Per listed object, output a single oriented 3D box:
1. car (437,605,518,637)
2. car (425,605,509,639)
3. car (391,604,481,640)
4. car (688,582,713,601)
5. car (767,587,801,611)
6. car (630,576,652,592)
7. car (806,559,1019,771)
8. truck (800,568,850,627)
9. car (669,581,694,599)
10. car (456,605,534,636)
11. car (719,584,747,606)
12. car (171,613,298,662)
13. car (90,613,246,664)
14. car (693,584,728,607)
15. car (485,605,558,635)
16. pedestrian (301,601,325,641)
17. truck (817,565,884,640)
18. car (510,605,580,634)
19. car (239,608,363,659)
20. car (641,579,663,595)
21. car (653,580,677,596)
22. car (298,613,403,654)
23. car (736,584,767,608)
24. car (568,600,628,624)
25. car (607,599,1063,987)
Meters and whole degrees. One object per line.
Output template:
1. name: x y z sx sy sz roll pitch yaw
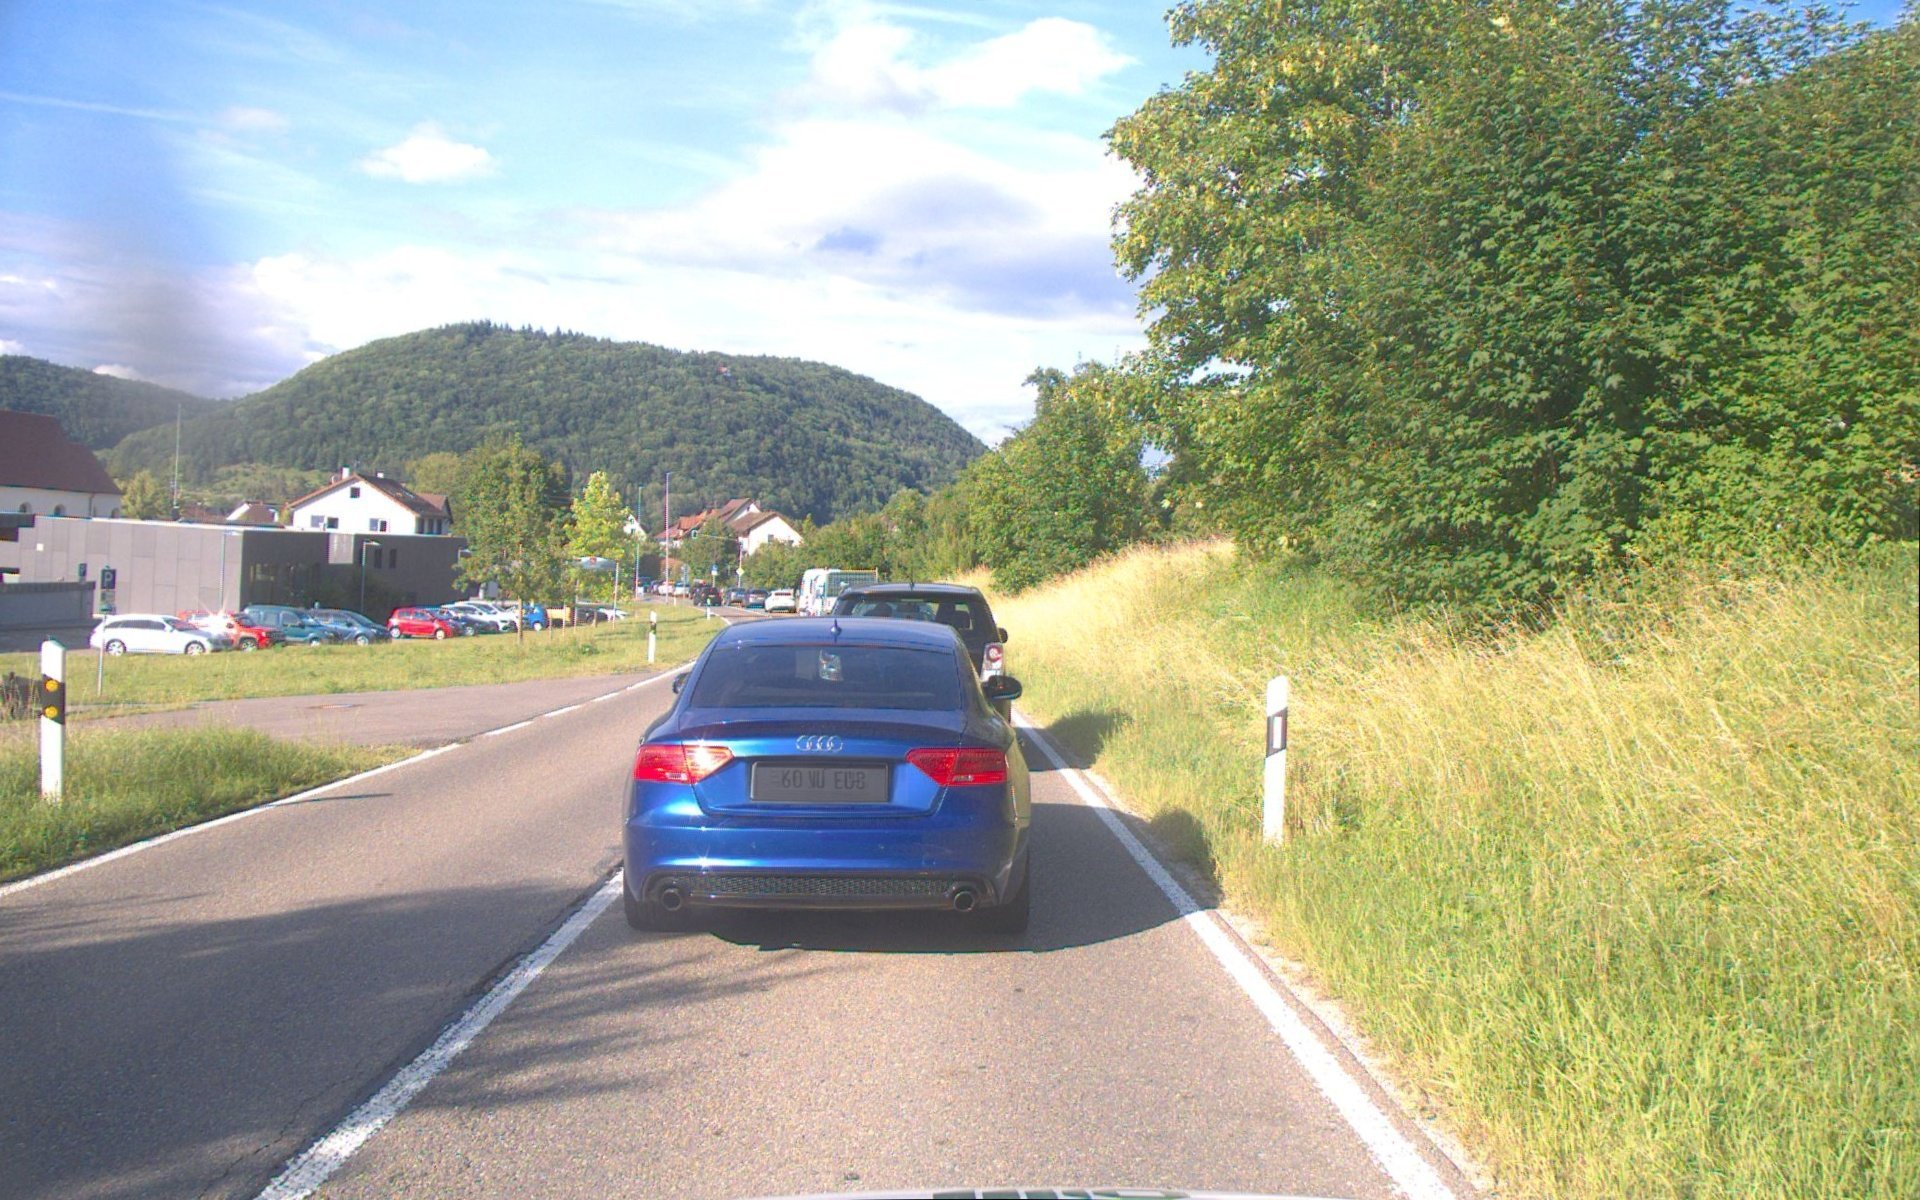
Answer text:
1. car: -26.767 1.160 91.839 3.907 1.741 1.999 1 0 -3
2. car: -26.244 1.150 88.190 3.907 1.741 1.999 1 0 -3
3. car: -26.468 1.122 83.638 3.907 1.741 1.999 1 0 -3
4. car: -24.424 -0.748 155.652 1.816 1.742 3.982 1 0 -16
5. car: -11.551 -0.062 108.288 1.813 1.508 3.988 1 0 -12
6. car: -37.171 -1.881 192.869 1.819 1.742 3.975 1 0 -21
7. car: -0.385 0.543 15.475 1.718 1.710 3.846 1 0 0
8. truck: -6.360 -0.119 77.621 2.186 2.615 6.700 1 0 -5
9. car: -28.480 -1.012 169.215 1.818 1.742 3.977 1 0 -19
10. car: -26.717 1.179 95.124 3.907 1.741 1.999 1 0 -3
11. car: -18.632 -0.377 135.635 1.815 1.742 3.984 1 0 -15
12. car: -27.592 1.419 63.011 3.907 1.741 1.999 1 0 -3
13. car: -28.655 1.385 59.987 4.637 1.741 1.999 1 0 -3
14. car: -19.639 -0.384 129.857 1.820 1.742 3.973 1 0 -22
15. car: -26.746 1.209 100.910 3.907 1.741 1.999 1 0 -3
16. pedestrian: -32.985 1.075 84.363 0.808 2.049 0.973 1 -1 -1
17. truck: -4.146 0.089 61.635 2.187 2.615 6.095 1 0 -6
18. car: -25.971 1.236 103.596 3.907 1.741 1.999 1 0 -3
19. car: -27.370 1.384 68.825 4.318 2.043 1.999 1 0 -3
20. car: -34.493 -1.429 185.326 1.819 1.742 3.976 1 0 -20
21. car: -31.588 -1.275 176.964 1.818 1.742 3.976 1 0 -20
22. car: -26.977 1.484 73.334 3.907 1.741 1.999 1 0 -3
23. car: -15.631 -0.261 123.876 1.815 1.742 3.984 1 0 -15
24. car: -25.824 0.864 118.165 3.907 1.606 1.751 1 0 -3
25. car: -0.472 0.747 8.246 1.718 1.455 3.846 1 0 0
